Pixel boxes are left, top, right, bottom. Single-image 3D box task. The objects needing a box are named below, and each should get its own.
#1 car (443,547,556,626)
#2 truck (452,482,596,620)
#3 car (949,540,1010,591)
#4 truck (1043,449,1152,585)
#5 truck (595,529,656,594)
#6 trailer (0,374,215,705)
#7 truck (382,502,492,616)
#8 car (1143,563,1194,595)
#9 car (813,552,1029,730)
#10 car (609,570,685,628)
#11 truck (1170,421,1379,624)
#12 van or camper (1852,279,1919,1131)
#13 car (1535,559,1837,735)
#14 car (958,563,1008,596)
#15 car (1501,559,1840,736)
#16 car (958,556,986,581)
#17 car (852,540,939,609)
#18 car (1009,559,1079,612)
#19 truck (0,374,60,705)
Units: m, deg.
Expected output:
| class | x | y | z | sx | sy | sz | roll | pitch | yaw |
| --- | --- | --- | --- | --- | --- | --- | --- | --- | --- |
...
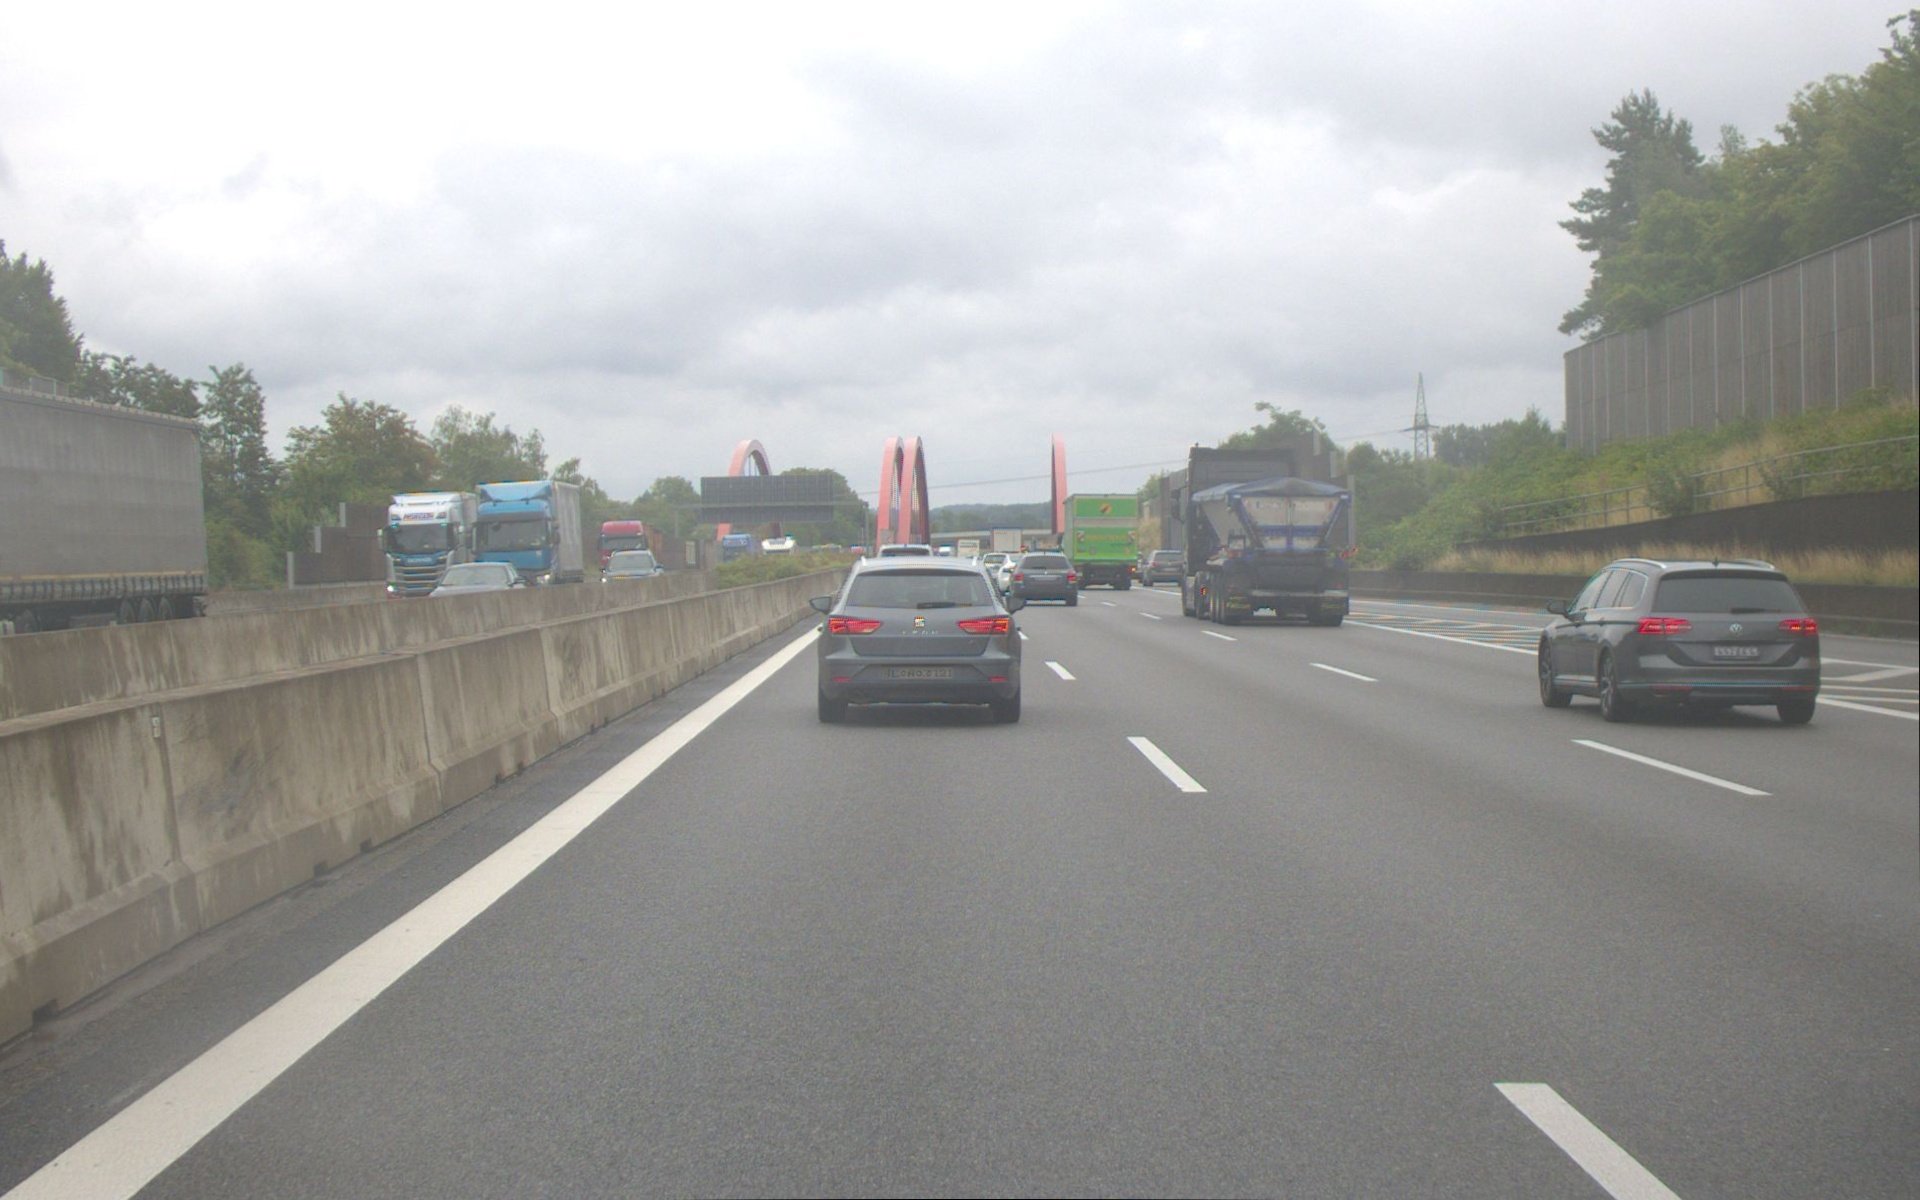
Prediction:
| class | x | y | z | sx | sy | sz | roll | pitch | yaw |
| --- | --- | --- | --- | --- | --- | --- | --- | --- | --- |
| car | -10.285 | -0.333 | 77.026 | 1.972 | 1.684 | 4.358 | -1 | 1 | -1 |
| truck | -14.445 | -1.598 | 114.981 | 3.151 | 4.310 | 12.680 | 1 | 0 | 0 |
| car | 0.632 | -1.172 | 114.869 | 1.993 | 1.656 | 4.000 | 0 | 1 | -1 |
| truck | 5.502 | -3.335 | 140.053 | 3.997 | 5.248 | 11.220 | -1 | 1 | 0 |
| truck | -19.566 | -2.230 | 201.271 | 2.696 | 3.694 | 6.480 | 1 | 0 | 2 |
| trailer | -13.959 | -0.857 | 51.140 | 2.779 | 4.310 | 14.024 | 1 | 0 | -1 |
| truck | -17.972 | -1.424 | 118.497 | 2.888 | 3.783 | 5.890 | -1 | 1 | 0 |
| car | 9.292 | -0.951 | 153.463 | 1.993 | 1.349 | 4.000 | -1 | 1 | -1 |
| car | -0.369 | 0.317 | 30.212 | 1.763 | 1.448 | 4.000 | 0 | 1 | -1 |
| car | -9.869 | -0.057 | 108.779 | 1.993 | 1.730 | 5.002 | -1 | 1 | -1 |
| truck | 6.580 | -1.575 | 74.105 | 3.089 | 3.936 | 12.946 | -1 | 0 | -1 |
| van or camper | 3.527 | 0.311 | 6.893 | 1.890 | 2.262 | 5.679 | 1 | 1 | -1 |
| car | 6.460 | 0.375 | 31.046 | 1.663 | 1.451 | 4.471 | 1 | 0 | -1 |
| car | 0.950 | -0.887 | 145.985 | 1.993 | 1.349 | 4.000 | -1 | 1 | -1 |
| car | 6.371 | 0.364 | 31.454 | 1.939 | 1.422 | 5.289 | 1 | 1 | 0 |
| car | 0.846 | -2.261 | 248.366 | 1.993 | 1.809 | 4.000 | 0 | 1 | 0 |
| car | -1.532 | -0.614 | 82.103 | 1.993 | 1.579 | 4.000 | -1 | 1 | -1 |
| car | 2.262 | -0.397 | 93.377 | 1.782 | 1.401 | 3.626 | 0 | 1 | 0 |
| truck | -13.879 | -0.802 | 44.638 | 2.779 | 4.310 | 6.098 | 1 | 0 | -1 |
